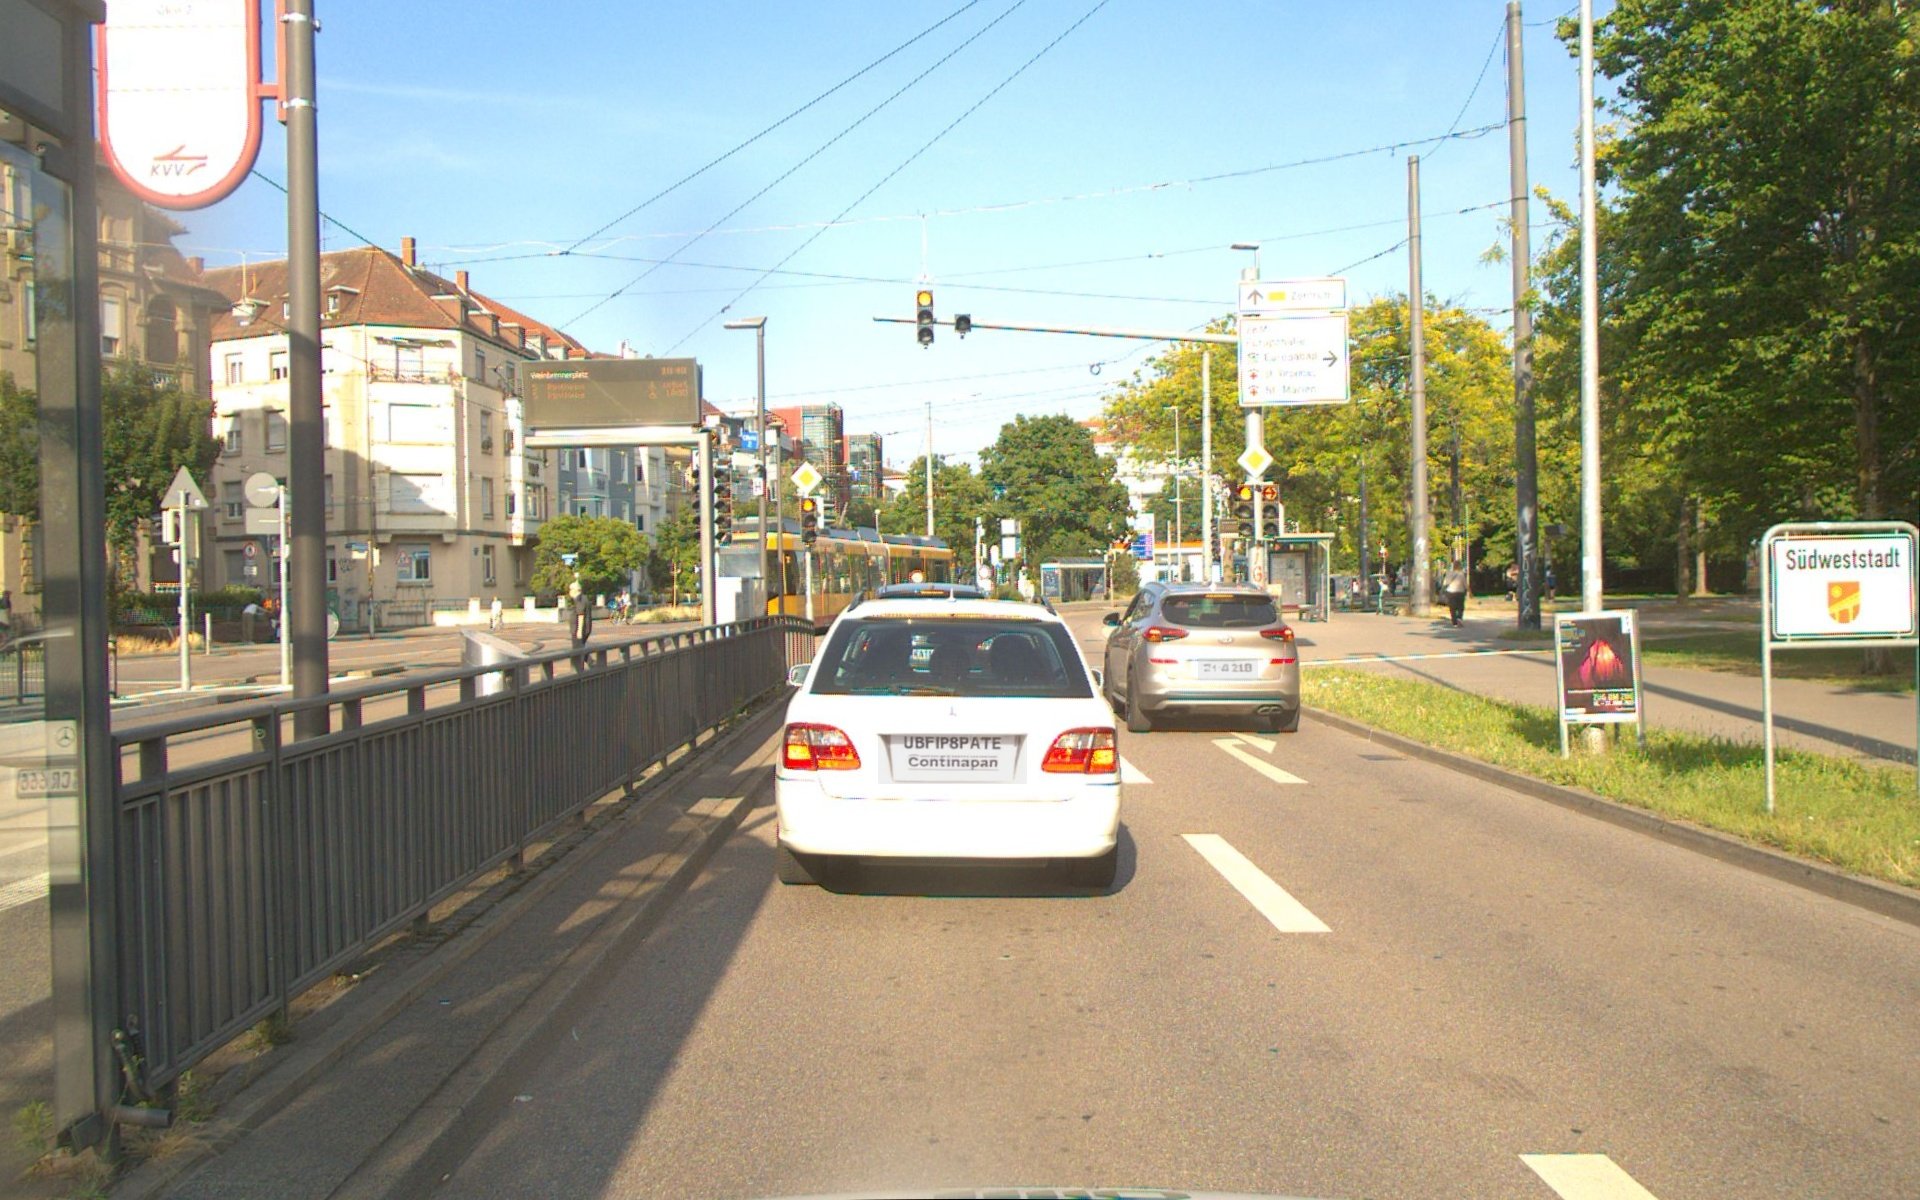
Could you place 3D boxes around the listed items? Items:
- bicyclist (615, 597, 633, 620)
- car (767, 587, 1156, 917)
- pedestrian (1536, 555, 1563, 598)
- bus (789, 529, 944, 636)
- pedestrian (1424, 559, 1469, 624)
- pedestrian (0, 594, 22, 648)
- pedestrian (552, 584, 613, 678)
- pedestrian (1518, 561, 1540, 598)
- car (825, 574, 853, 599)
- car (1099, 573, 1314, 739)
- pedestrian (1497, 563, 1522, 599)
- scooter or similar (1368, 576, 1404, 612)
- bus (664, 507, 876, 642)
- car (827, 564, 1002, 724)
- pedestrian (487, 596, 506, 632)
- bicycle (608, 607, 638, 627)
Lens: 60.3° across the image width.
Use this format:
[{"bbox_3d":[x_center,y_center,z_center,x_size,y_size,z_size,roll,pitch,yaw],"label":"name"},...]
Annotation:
[{"bbox_3d":[-15.781,0.385,77.675,0.502,1.062,0.679,-1,0,25],"label":"bicyclist"},{"bbox_3d":[-0.022,0.684,9.341,1.759,1.496,3.647,0,0,-1],"label":"car"},{"bbox_3d":[25.475,-1.017,71.525,0.784,1.816,0.838,-1,0,-5],"label":"pedestrian"},{"bbox_3d":[-3.307,-0.575,63.585,3.042,3.669,12.601,1,0,10],"label":"bus"},{"bbox_3d":[12.599,-0.216,42.834,0.748,1.665,0.797,-1,0,-40],"label":"pedestrian"},{"bbox_3d":[-27.077,0.599,46.995,0.428,1.527,0.549,-1,0,13],"label":"pedestrian"},{"bbox_3d":[-6.923,0.556,30.317,0.745,1.674,0.788,-1,0,45],"label":"pedestrian"},{"bbox_3d":[24.202,-0.871,70.343,0.796,1.513,0.700,-1,0,24],"label":"pedestrian"},{"bbox_3d":[-10.023,-1.101,136.808,2.032,2.049,4.162,1,0,-1],"label":"car"},{"bbox_3d":[2.736,0.574,19.145,1.847,1.680,3.647,-1,0,-1],"label":"car"},{"bbox_3d":[23.651,-0.824,71.235,0.809,1.513,0.690,-1,0,-43],"label":"pedestrian"},{"bbox_3d":[13.614,-0.197,52.856,0.413,1.136,1.322,-1,0,-20],"label":"scooter or similar"},{"bbox_3d":[-5.516,-0.659,51.218,3.042,3.669,12.385,1,0,10],"label":"bus"},{"bbox_3d":[-0.513,0.457,19.530,1.846,1.680,3.647,1,0,-1],"label":"car"},{"bbox_3d":[-20.624,0.600,73.534,0.616,1.568,0.711,-1,0,-1],"label":"pedestrian"},{"bbox_3d":[-15.807,0.791,77.611,0.515,0.849,1.686,-1,0,23],"label":"bicycle"}]
